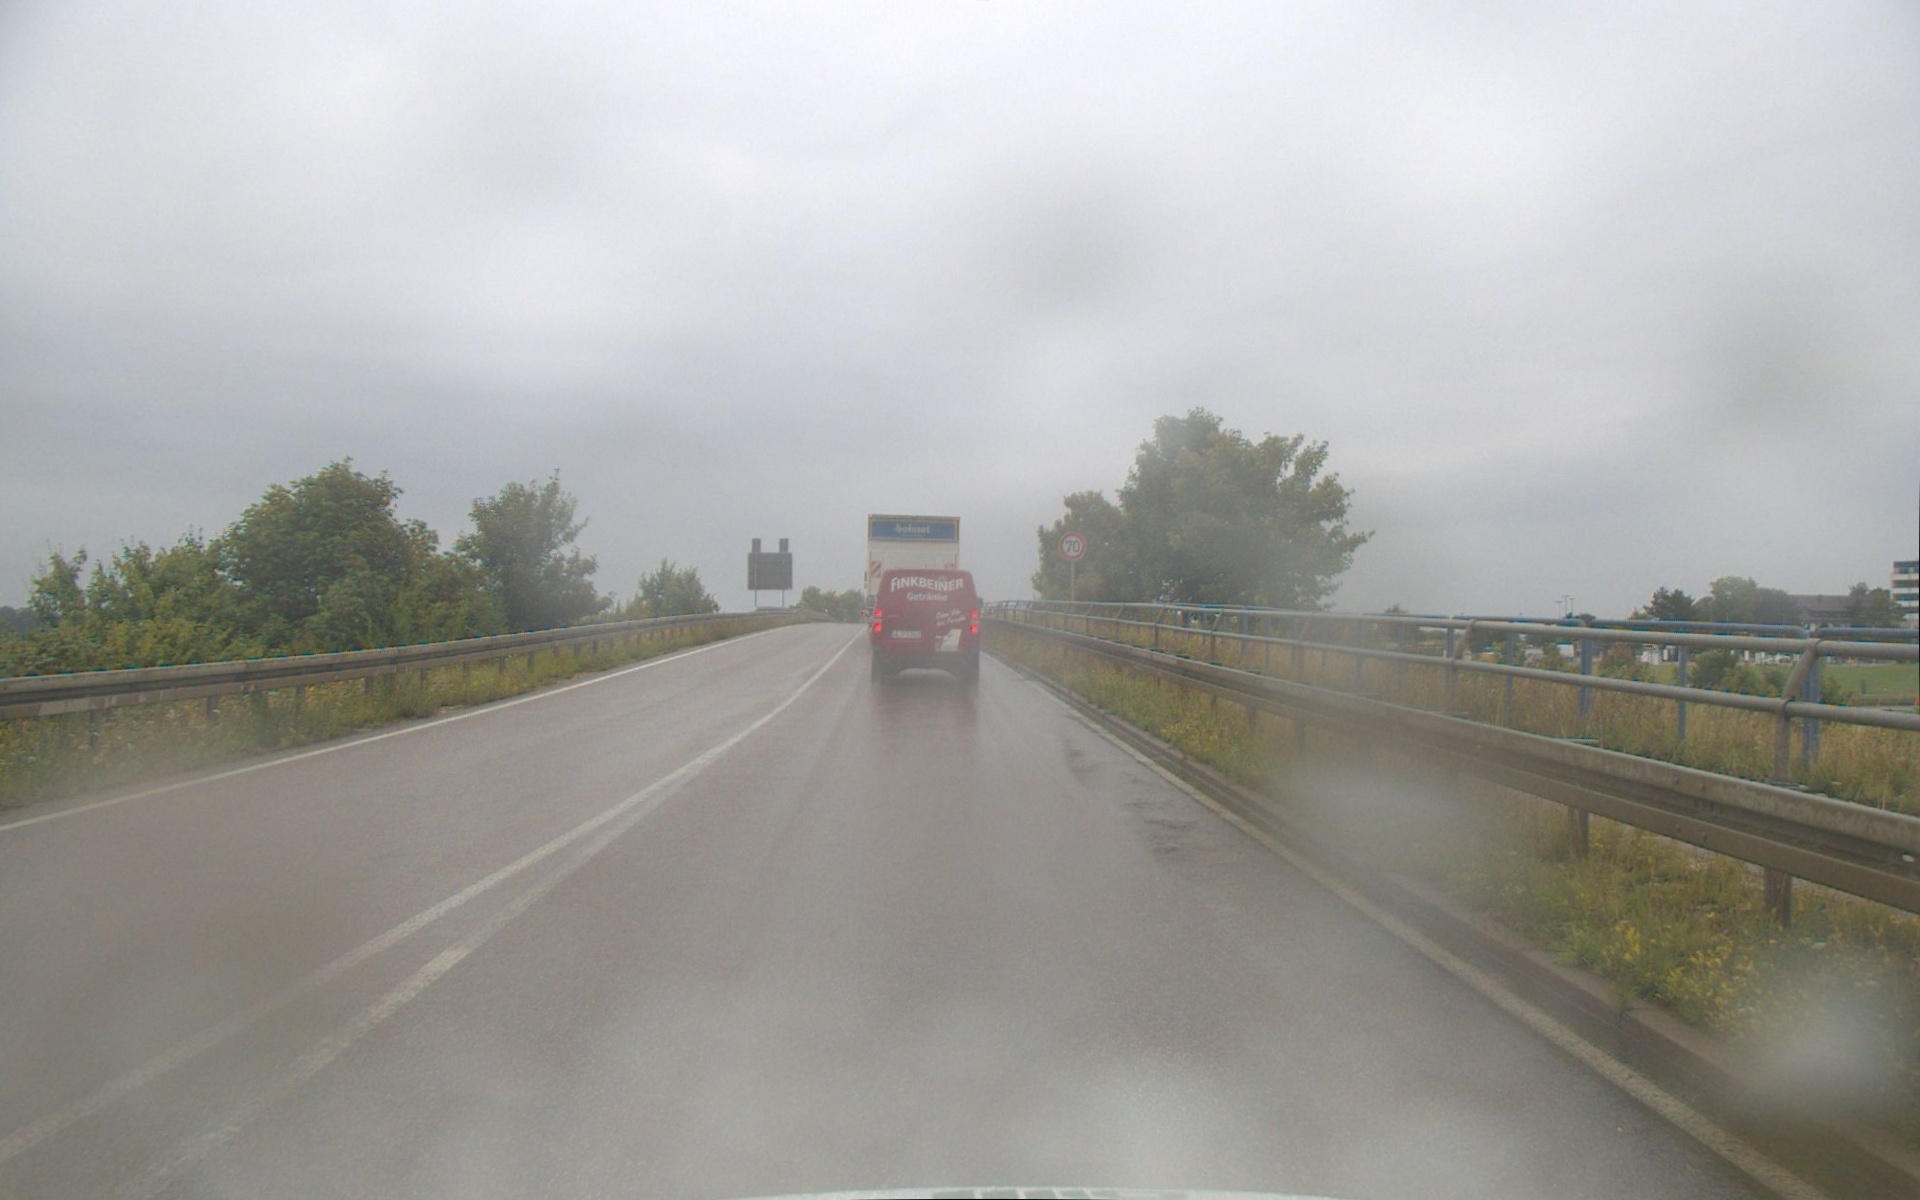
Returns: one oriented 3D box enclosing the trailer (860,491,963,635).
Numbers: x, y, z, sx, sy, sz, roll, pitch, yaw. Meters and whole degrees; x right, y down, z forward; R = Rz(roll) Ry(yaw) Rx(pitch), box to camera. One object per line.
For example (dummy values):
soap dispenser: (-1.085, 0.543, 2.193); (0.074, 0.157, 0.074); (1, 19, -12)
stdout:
trailer: (-1.339, -0.937, 49.453); (2.774, 3.886, 9.712); (0, -1, -1)

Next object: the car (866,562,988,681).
car: (-0.575, 0.349, 29.217); (1.953, 1.903, 4.977); (-1, 0, -1)
